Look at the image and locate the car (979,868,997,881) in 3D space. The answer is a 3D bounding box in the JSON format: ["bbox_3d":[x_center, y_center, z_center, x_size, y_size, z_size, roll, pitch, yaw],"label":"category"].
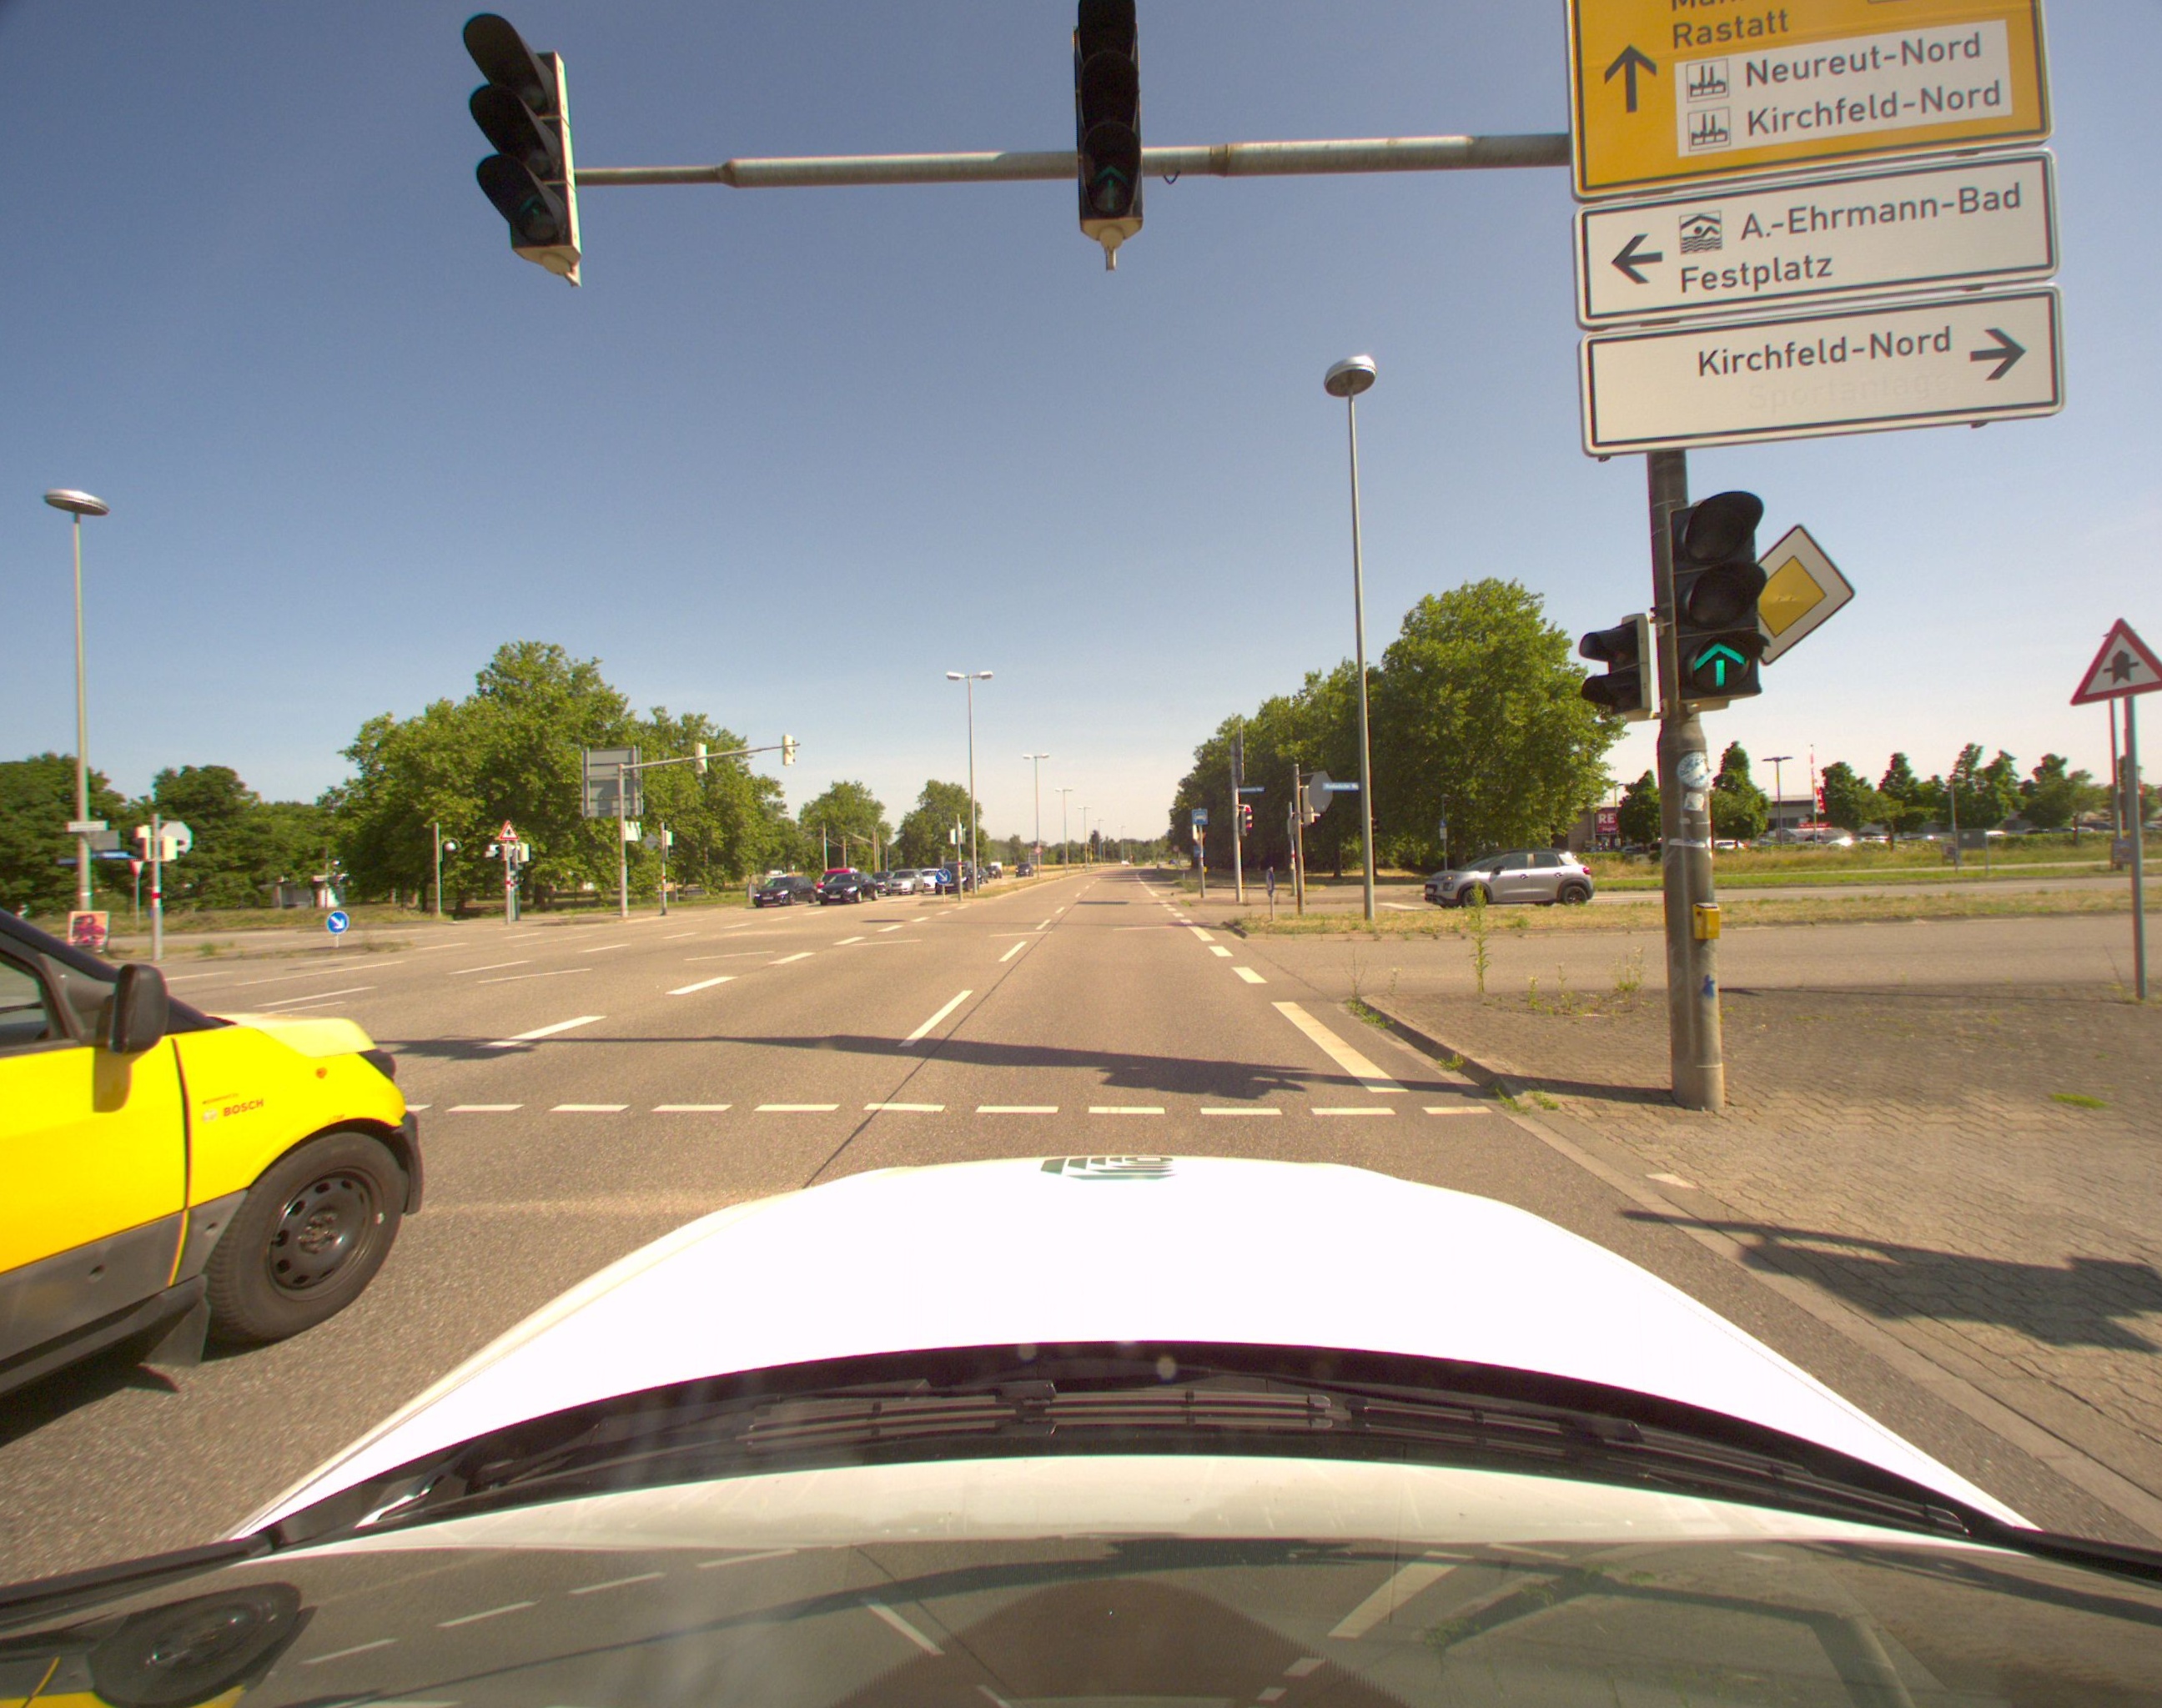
[{"bbox_3d":[-11.235,2.513,98.954,1.978,1.457,4.221,-2,-1,-5],"label":"car"}]

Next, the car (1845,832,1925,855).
[{"bbox_3d":[69.732,-0.871,70.712,4.452,1.750,1.999,-2,-1,25],"label":"car"}]

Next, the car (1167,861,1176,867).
[{"bbox_3d":[25.240,2.715,227.538,1.968,1.457,4.131,-3,-1,12],"label":"car"}]

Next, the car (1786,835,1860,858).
[{"bbox_3d":[59.983,-0.596,65.919,3.962,1.728,2.006,-2,-1,10],"label":"car"}]

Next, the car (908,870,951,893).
[{"bbox_3d":[-10.138,1.803,54.781,1.820,1.386,3.848,-2,-1,5],"label":"car"}]

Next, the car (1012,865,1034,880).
[{"bbox_3d":[-7.217,2.305,101.656,1.972,1.779,4.494,-2,-1,4],"label":"car"}]

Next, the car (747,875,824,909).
[{"bbox_3d":[-14.373,1.813,39.883,1.876,1.457,4.235,-2,-1,5],"label":"car"}]

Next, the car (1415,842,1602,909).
[{"bbox_3d":[11.280,0.550,21.687,4.036,1.564,1.743,-2,-1,2],"label":"car"}]

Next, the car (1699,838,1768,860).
[{"bbox_3d":[59.511,-0.454,74.358,4.468,1.750,1.992,-2,-1,7],"label":"car"}]

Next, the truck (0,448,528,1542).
[{"bbox_3d":[-3.536,0.309,0.549,2.103,2.457,5.919,-1,-1,2],"label":"truck"}]

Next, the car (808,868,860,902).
[{"bbox_3d":[-14.095,1.713,46.718,1.699,1.770,4.227,-3,-1,-1],"label":"car"}]

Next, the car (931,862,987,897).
[{"bbox_3d":[-6.614,1.331,44.554,1.972,1.750,4.514,-2,-1,5],"label":"car"}]

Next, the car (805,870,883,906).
[{"bbox_3d":[-10.785,1.520,37.388,1.972,1.457,4.338,-2,-1,5],"label":"car"}]

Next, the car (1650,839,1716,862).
[{"bbox_3d":[50.619,-0.253,68.526,3.962,1.728,2.006,-2,-1,10],"label":"car"}]

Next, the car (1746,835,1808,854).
[{"bbox_3d":[71.556,-0.949,83.786,4.461,1.750,1.995,-2,-1,13],"label":"car"}]

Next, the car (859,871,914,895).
[{"bbox_3d":[-13.462,2.005,56.782,1.984,1.474,5.625,-2,-1,6],"label":"car"}]

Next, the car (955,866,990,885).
[{"bbox_3d":[-9.124,1.820,68.691,1.972,1.457,4.456,-2,-1,5],"label":"car"}]

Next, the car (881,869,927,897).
[{"bbox_3d":[-10.274,1.672,47.534,1.613,1.457,3.873,-2,-1,2],"label":"car"}]
